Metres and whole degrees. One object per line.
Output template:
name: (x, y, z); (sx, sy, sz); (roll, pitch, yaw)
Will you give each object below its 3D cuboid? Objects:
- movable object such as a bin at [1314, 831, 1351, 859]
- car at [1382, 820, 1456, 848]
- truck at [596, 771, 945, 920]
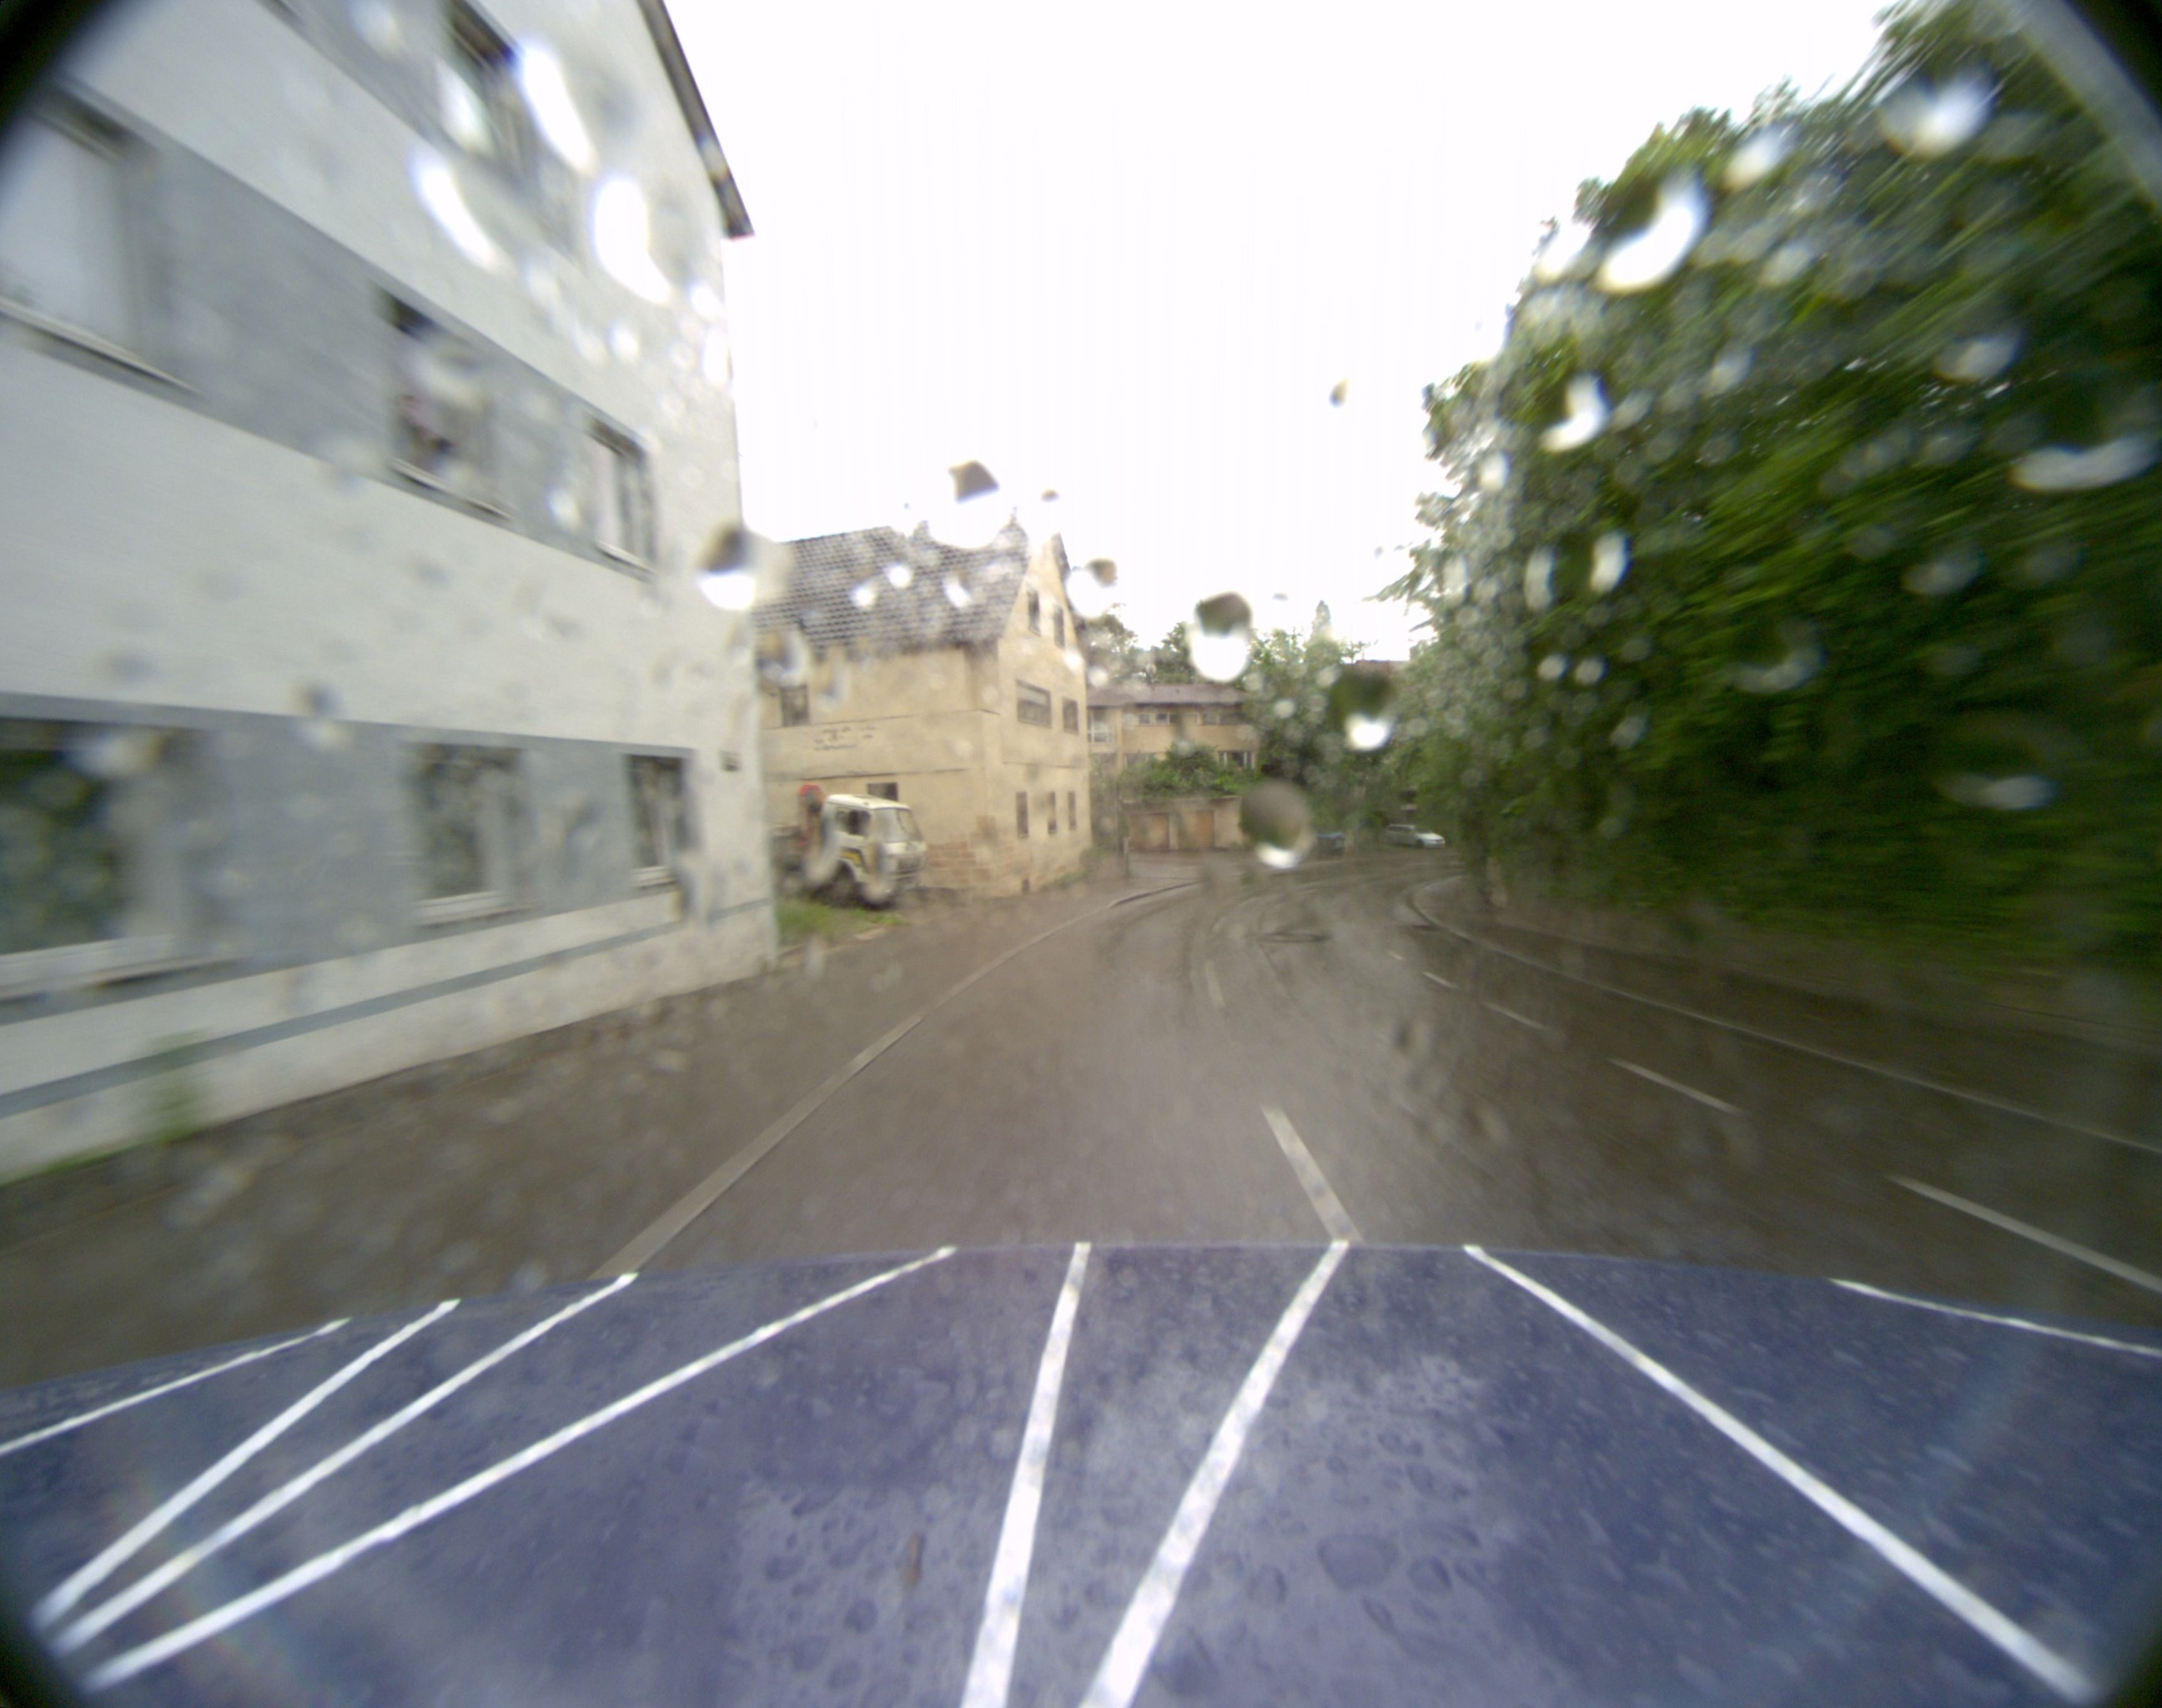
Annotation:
movable object such as a bin: (13.945, -0.518, 42.144); (1.486, 1.403, 1.156); (-1, 7, -22)
car: (23.708, -1.454, 53.483); (2.002, 1.546, 4.550); (-2, 8, -23)
truck: (-6.718, -0.248, 16.602); (6.966, 2.687, 2.142); (3, 1, 12)
